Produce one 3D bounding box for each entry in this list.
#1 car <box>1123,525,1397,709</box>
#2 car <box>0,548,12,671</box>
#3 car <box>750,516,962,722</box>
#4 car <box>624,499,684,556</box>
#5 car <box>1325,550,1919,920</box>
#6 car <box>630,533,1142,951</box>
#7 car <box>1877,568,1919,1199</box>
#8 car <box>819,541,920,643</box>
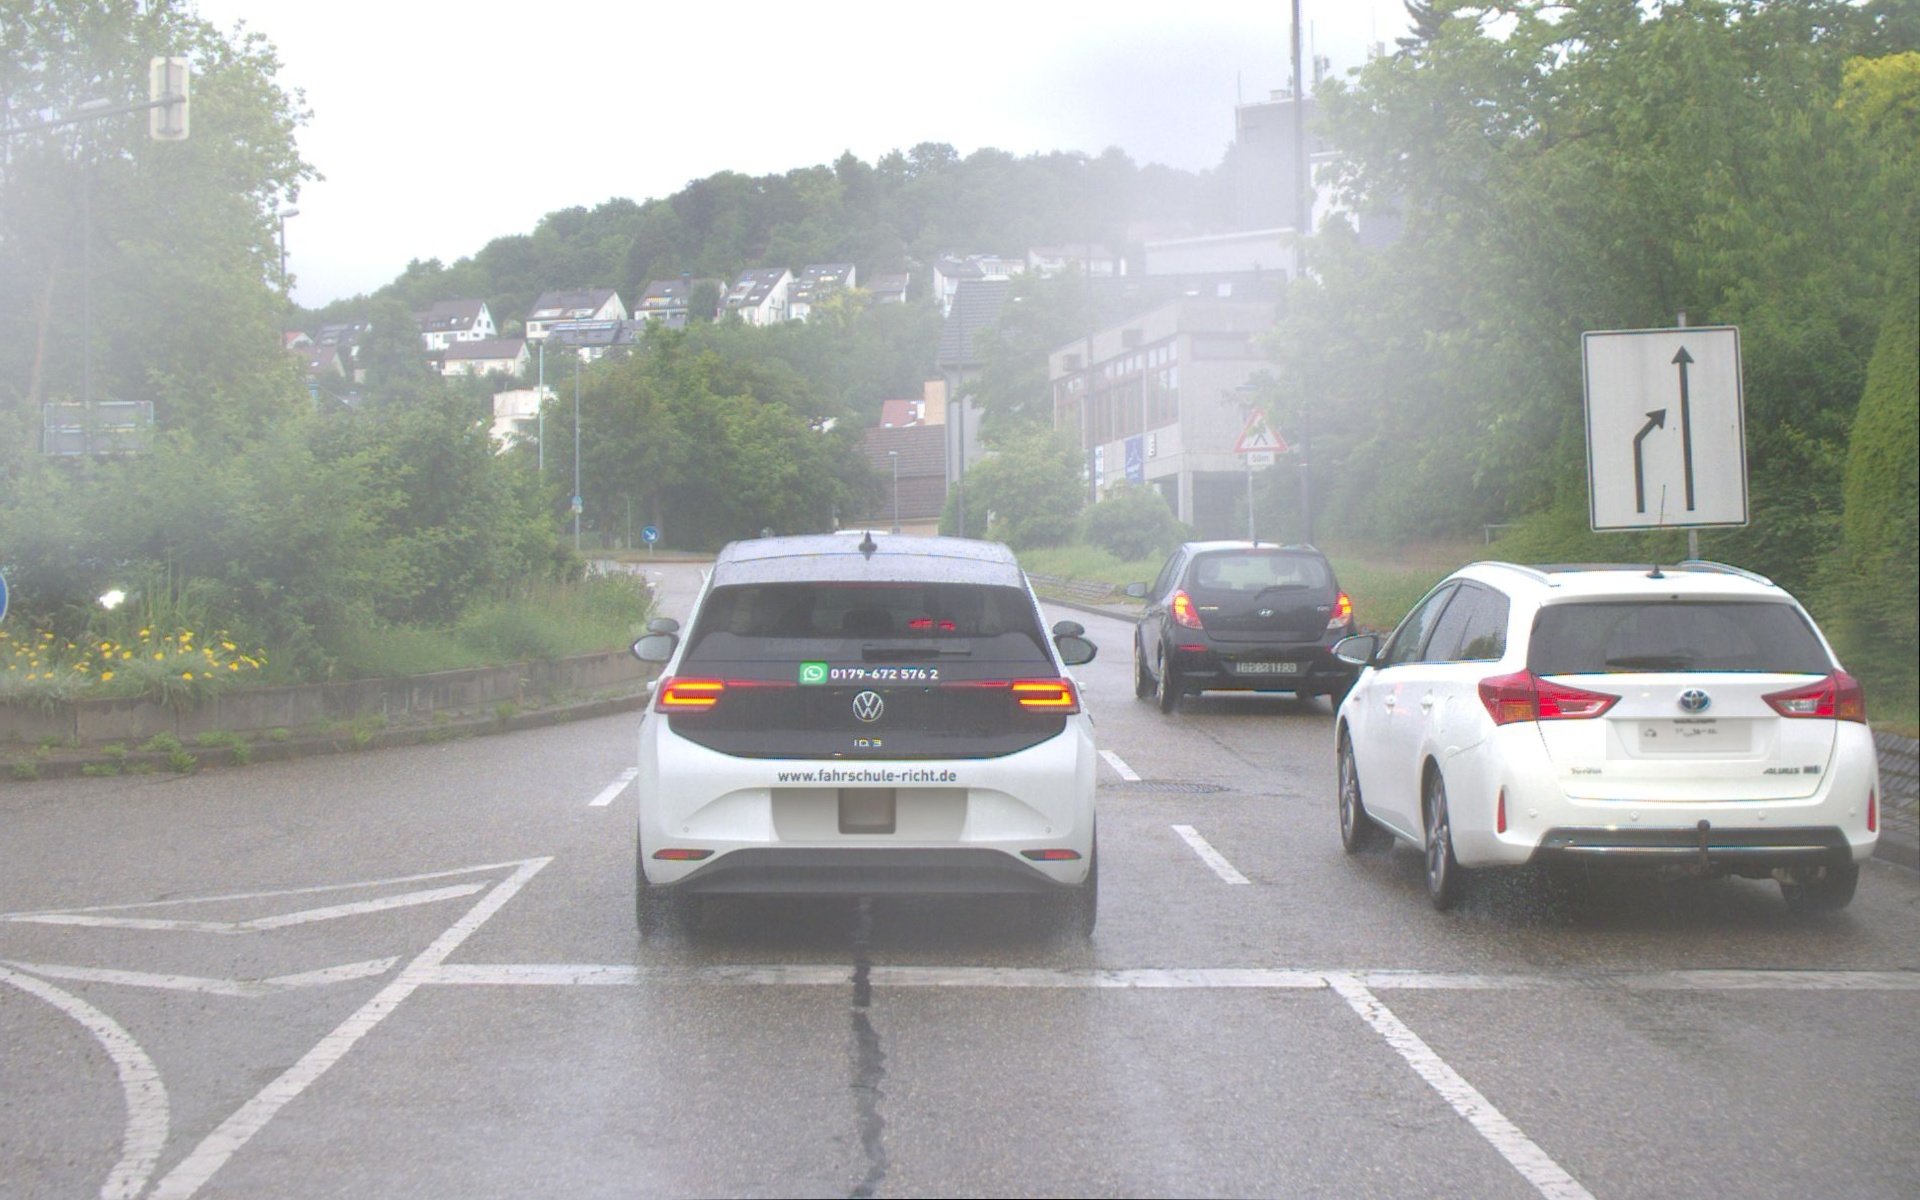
[{"bbox_3d":[2.591,0.127,30.526,1.993,1.448,3.771,-3,0,-1],"label":"car"},{"bbox_3d":[-12.468,0.165,39.521,1.950,1.473,4.296,-3,0,-1],"label":"car"},{"bbox_3d":[-0.881,0.092,27.529,1.567,1.525,4.001,0,1,-3],"label":"car"},{"bbox_3d":[-11.238,-2.660,126.414,1.993,2.007,4.000,1,0,-3],"label":"car"},{"bbox_3d":[2.792,0.500,15.230,1.848,1.405,4.302,0,0,-1],"label":"car"},{"bbox_3d":[-0.291,0.495,14.413,1.828,1.495,4.168,0,0,-1],"label":"car"},{"bbox_3d":[3.156,0.726,5.742,1.954,1.502,4.608,2,0,0],"label":"car"},{"bbox_3d":[-1.842,-0.173,70.861,1.993,2.007,4.000,1,0,-1],"label":"car"}]
